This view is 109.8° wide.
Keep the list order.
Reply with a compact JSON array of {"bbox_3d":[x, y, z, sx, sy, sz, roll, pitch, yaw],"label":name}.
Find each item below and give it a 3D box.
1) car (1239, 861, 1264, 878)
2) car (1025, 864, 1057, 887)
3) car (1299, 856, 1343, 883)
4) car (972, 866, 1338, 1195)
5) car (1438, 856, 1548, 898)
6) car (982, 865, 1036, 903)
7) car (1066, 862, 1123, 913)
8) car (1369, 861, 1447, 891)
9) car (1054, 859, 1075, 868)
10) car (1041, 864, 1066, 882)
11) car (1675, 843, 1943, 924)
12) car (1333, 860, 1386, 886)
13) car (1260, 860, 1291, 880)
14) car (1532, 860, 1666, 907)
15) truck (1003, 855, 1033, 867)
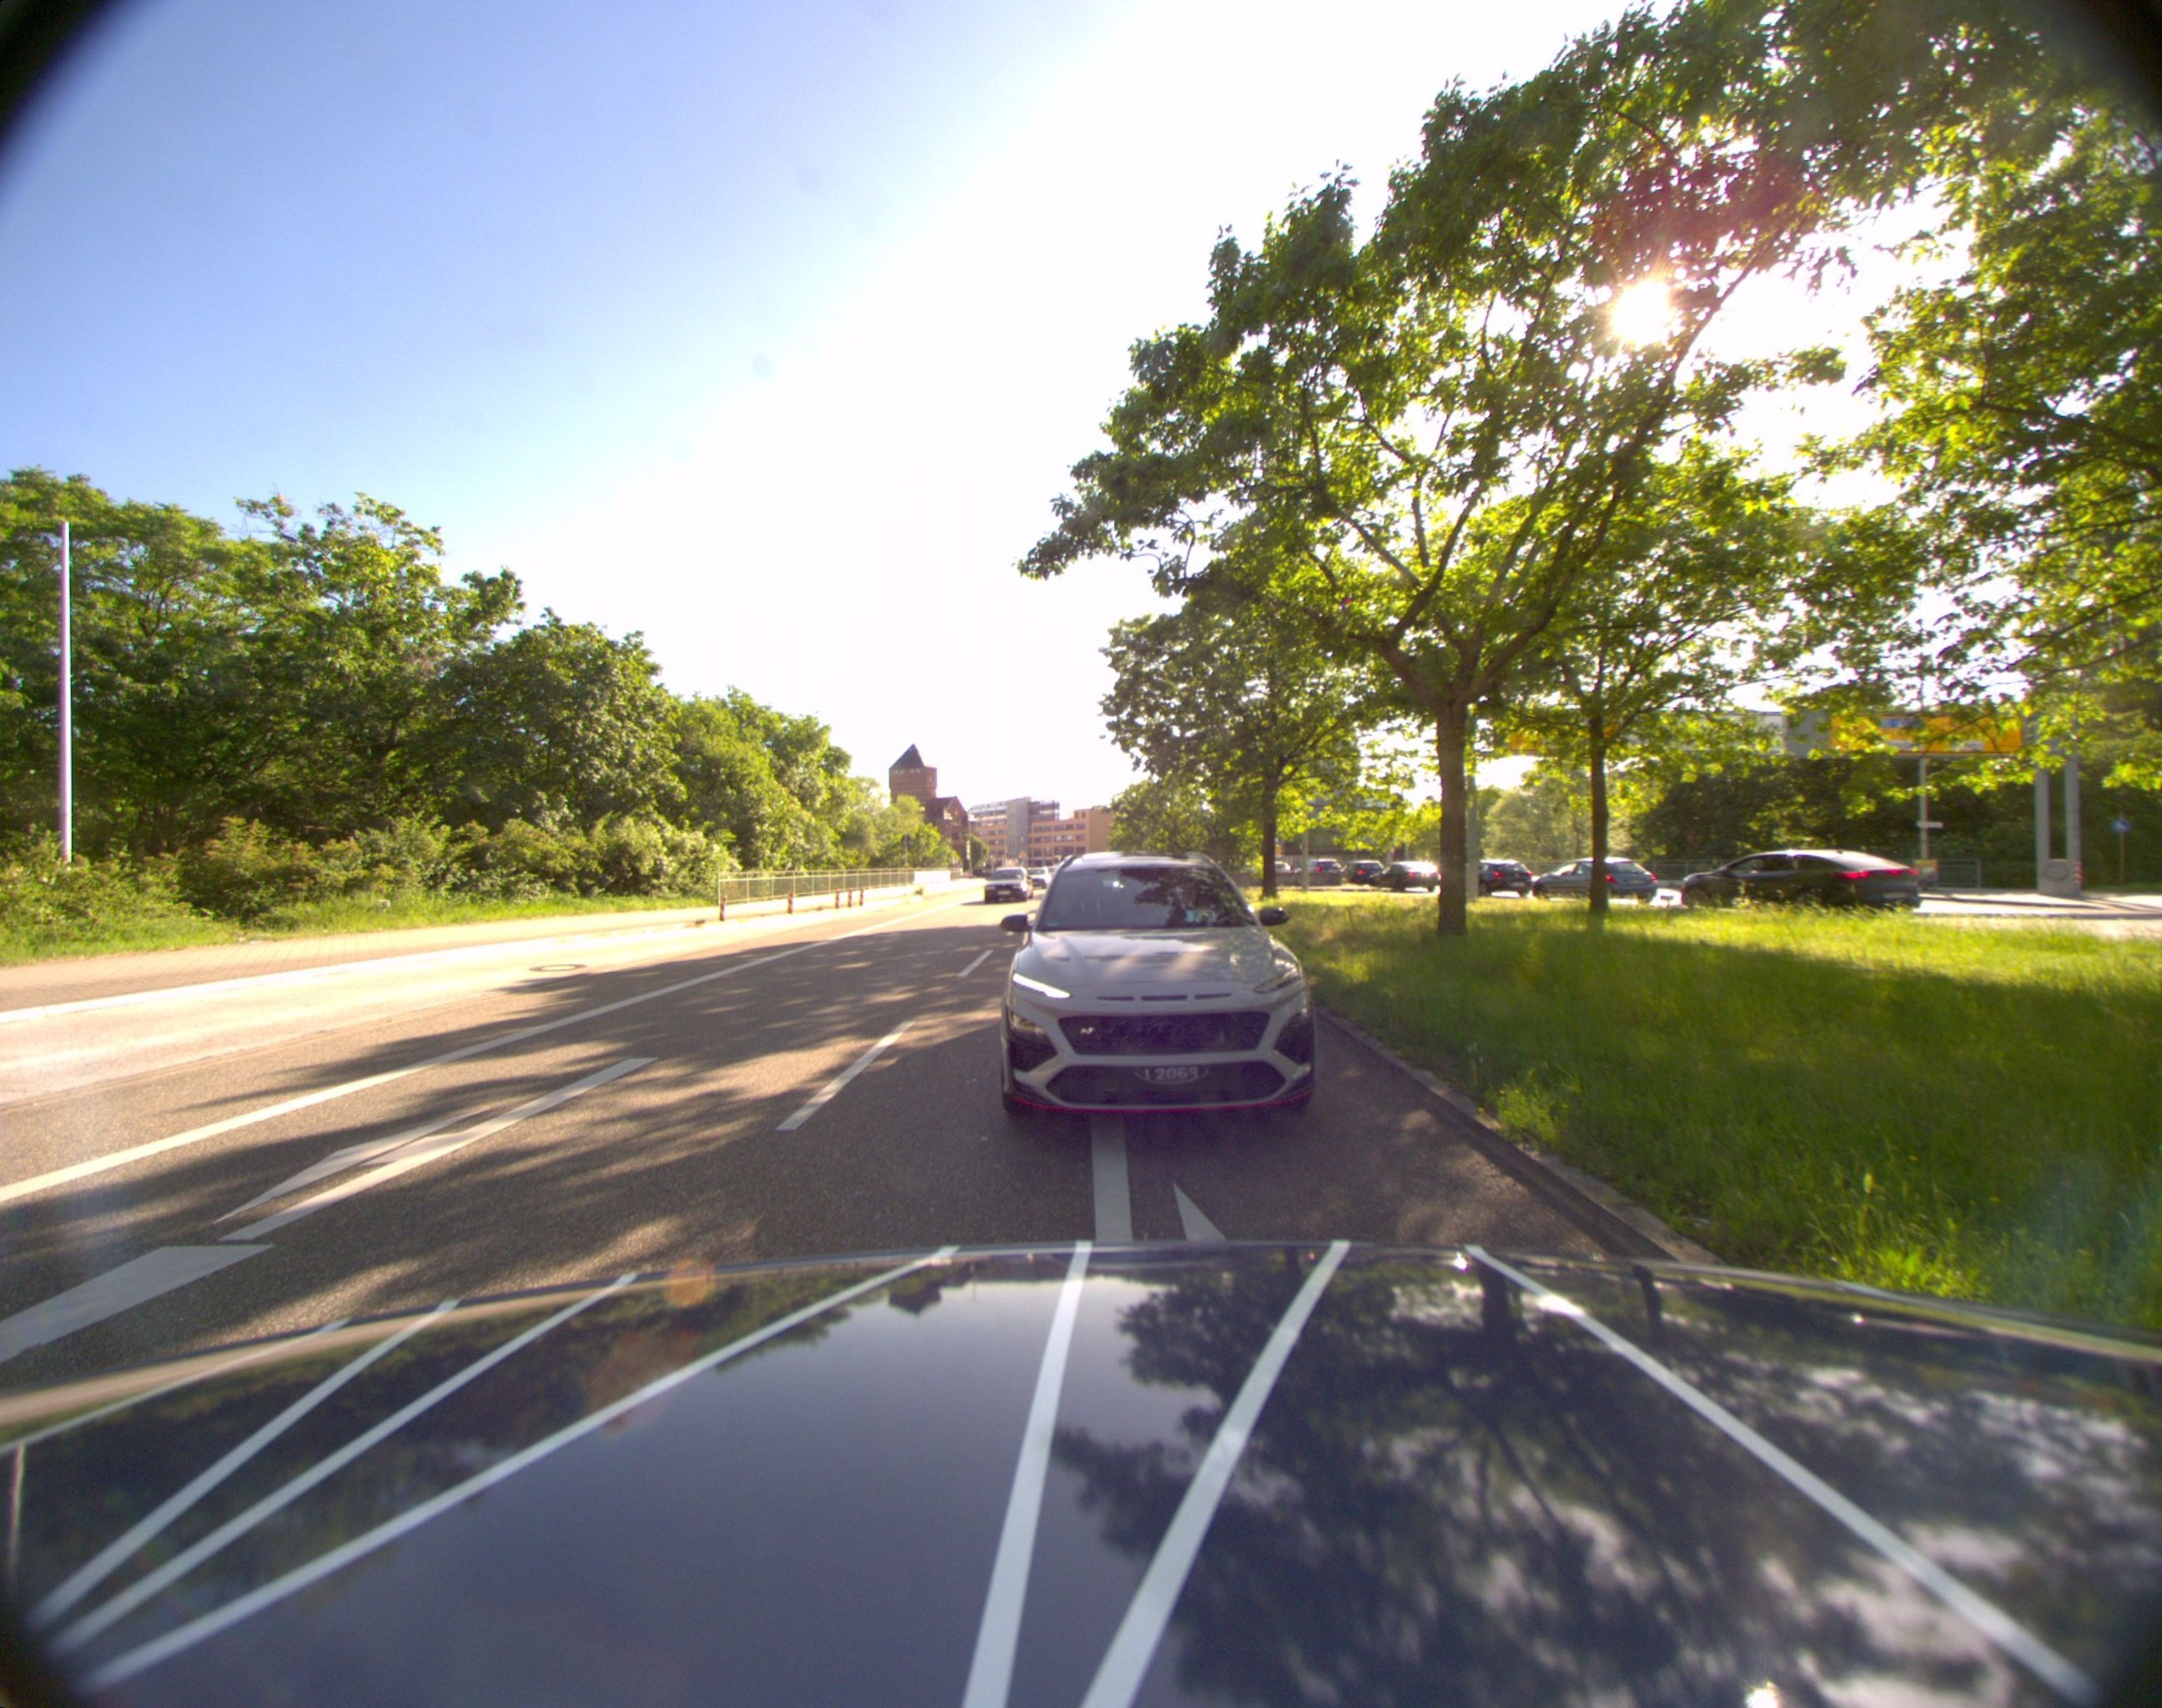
[{"bbox_3d":[13.944,1.287,62.318,1.199,1.252,2.768,-1,-2,-6],"label":"car"},{"bbox_3d":[-2.556,1.343,49.175,1.785,1.411,4.001,-1,-1,1],"label":"car"},{"bbox_3d":[14.969,0.999,47.544,1.450,1.549,3.202,-1,-2,-6],"label":"car"},{"bbox_3d":[0.385,0.888,5.679,1.752,1.523,3.988,-1,0,1],"label":"car"},{"bbox_3d":[16.186,0.854,30.140,1.875,1.541,4.221,-1,0,-4],"label":"car"},{"bbox_3d":[-2.950,1.211,31.912,1.776,1.395,4.318,-1,0,1],"label":"car"},{"bbox_3d":[0.426,1.016,24.498,1.677,1.463,4.151,-1,0,1],"label":"car"},{"bbox_3d":[15.474,1.005,36.213,1.623,1.305,4.066,-1,0,-6],"label":"car"},{"bbox_3d":[-3.971,2.173,177.395,2.177,2.001,5.400,-1,0,-36],"label":"car"},{"bbox_3d":[-2.145,1.502,60.821,1.785,1.411,4.001,-1,-1,1],"label":"car"},{"bbox_3d":[16.784,0.615,17.906,1.832,1.638,4.458,-1,0,-5],"label":"car"},{"bbox_3d":[15.150,1.040,41.469,1.481,1.331,3.202,-1,-1,-6],"label":"car"},{"bbox_3d":[14.323,1.213,56.094,1.228,1.331,2.882,-1,-3,-6],"label":"car"},{"bbox_3d":[16.385,0.890,24.261,1.561,1.355,3.608,-1,-1,-6],"label":"car"},{"bbox_3d":[-16.302,1.831,196.959,3.535,3.231,9.141,-1,0,-36],"label":"truck"}]
